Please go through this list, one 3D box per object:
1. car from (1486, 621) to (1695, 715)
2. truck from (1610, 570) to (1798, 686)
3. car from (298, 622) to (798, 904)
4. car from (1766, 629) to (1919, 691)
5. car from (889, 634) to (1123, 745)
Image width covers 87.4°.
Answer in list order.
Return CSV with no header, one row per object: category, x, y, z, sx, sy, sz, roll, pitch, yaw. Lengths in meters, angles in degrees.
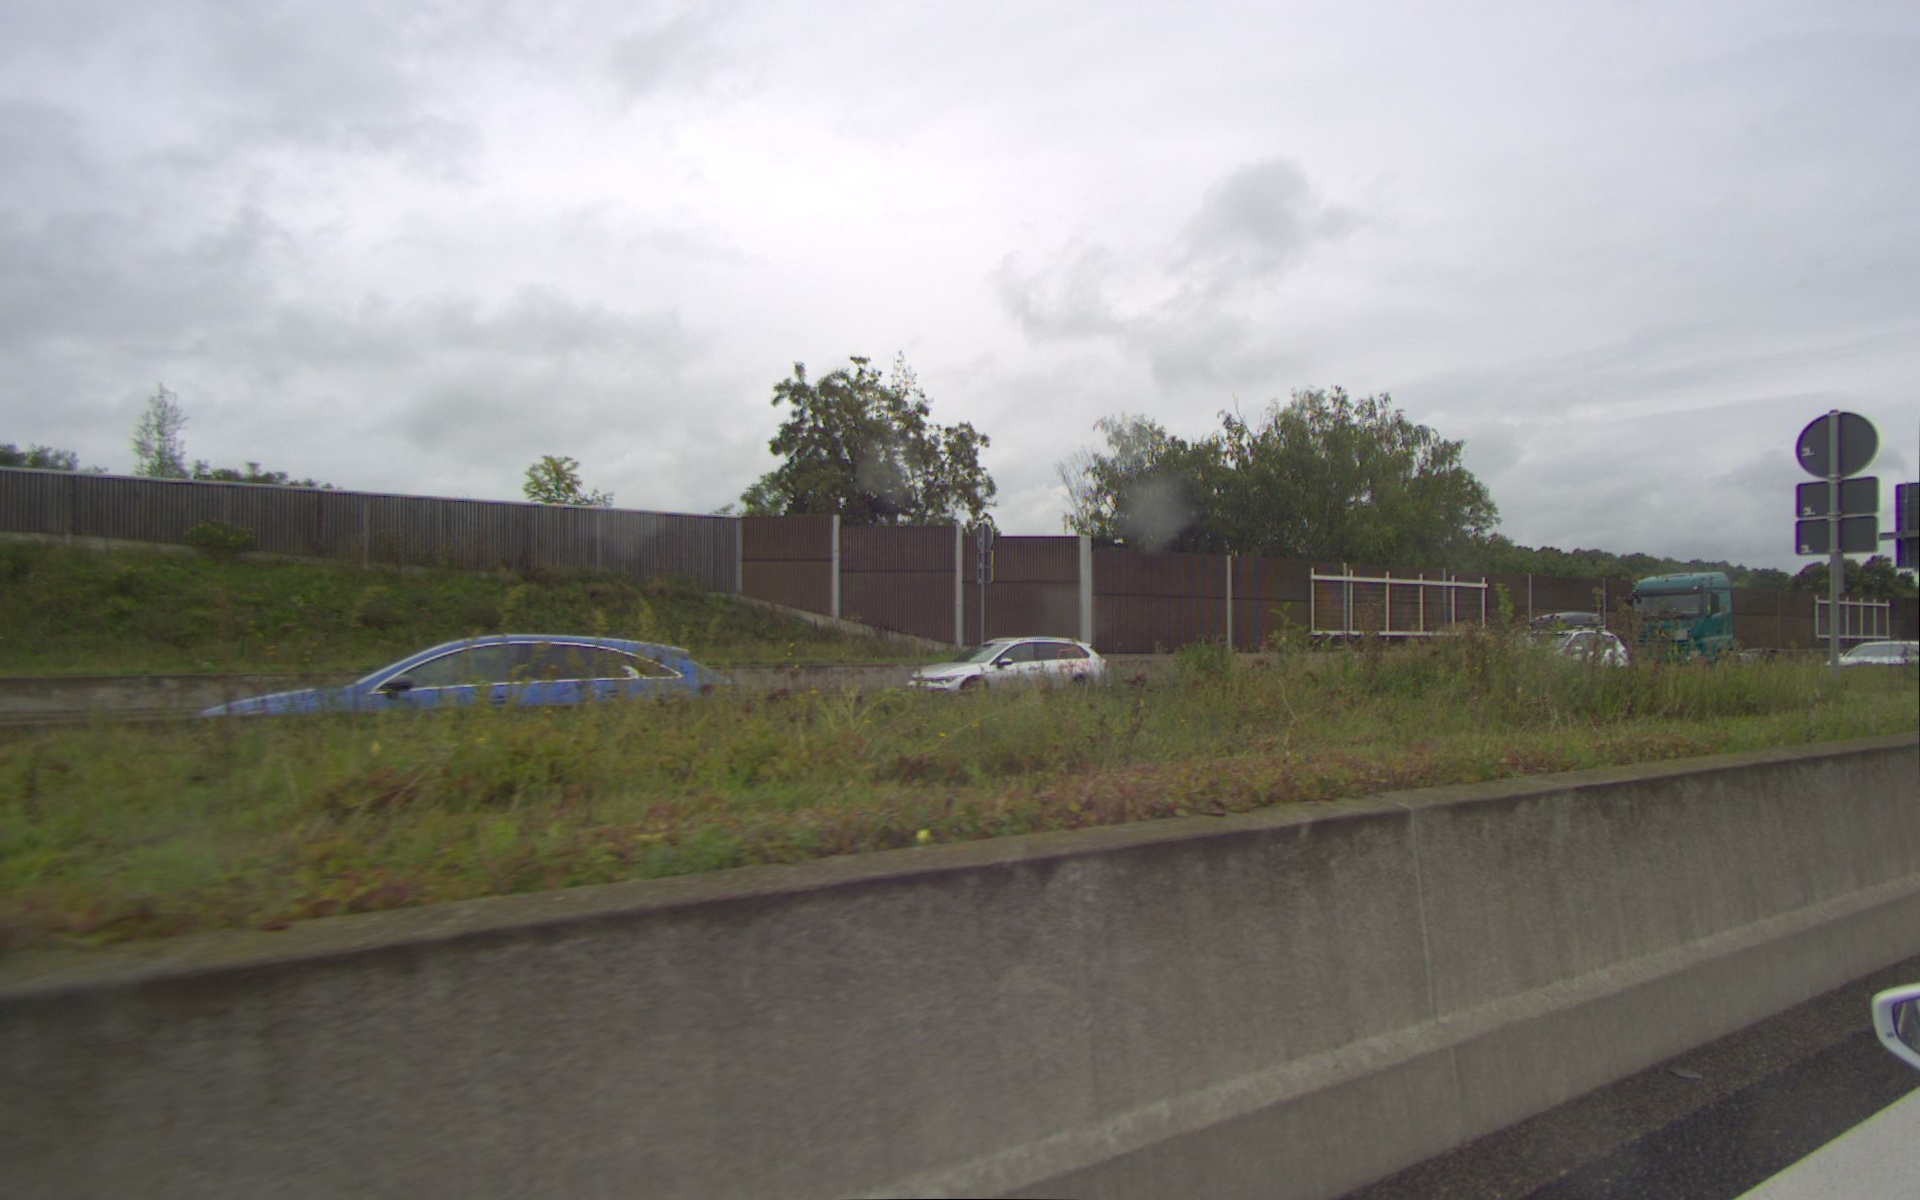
car,15.475,1.581,24.545,5.552,2.040,1.984,1,0,-30
truck,27.375,1.008,36.873,7.436,3.889,2.848,2,0,-31
car,-3.741,1.259,9.346,3.957,2.040,1.982,1,0,-33
car,21.693,1.391,24.110,5.167,1.304,1.984,1,0,-31
car,1.012,1.781,21.182,4.597,2.040,1.984,1,0,-30
